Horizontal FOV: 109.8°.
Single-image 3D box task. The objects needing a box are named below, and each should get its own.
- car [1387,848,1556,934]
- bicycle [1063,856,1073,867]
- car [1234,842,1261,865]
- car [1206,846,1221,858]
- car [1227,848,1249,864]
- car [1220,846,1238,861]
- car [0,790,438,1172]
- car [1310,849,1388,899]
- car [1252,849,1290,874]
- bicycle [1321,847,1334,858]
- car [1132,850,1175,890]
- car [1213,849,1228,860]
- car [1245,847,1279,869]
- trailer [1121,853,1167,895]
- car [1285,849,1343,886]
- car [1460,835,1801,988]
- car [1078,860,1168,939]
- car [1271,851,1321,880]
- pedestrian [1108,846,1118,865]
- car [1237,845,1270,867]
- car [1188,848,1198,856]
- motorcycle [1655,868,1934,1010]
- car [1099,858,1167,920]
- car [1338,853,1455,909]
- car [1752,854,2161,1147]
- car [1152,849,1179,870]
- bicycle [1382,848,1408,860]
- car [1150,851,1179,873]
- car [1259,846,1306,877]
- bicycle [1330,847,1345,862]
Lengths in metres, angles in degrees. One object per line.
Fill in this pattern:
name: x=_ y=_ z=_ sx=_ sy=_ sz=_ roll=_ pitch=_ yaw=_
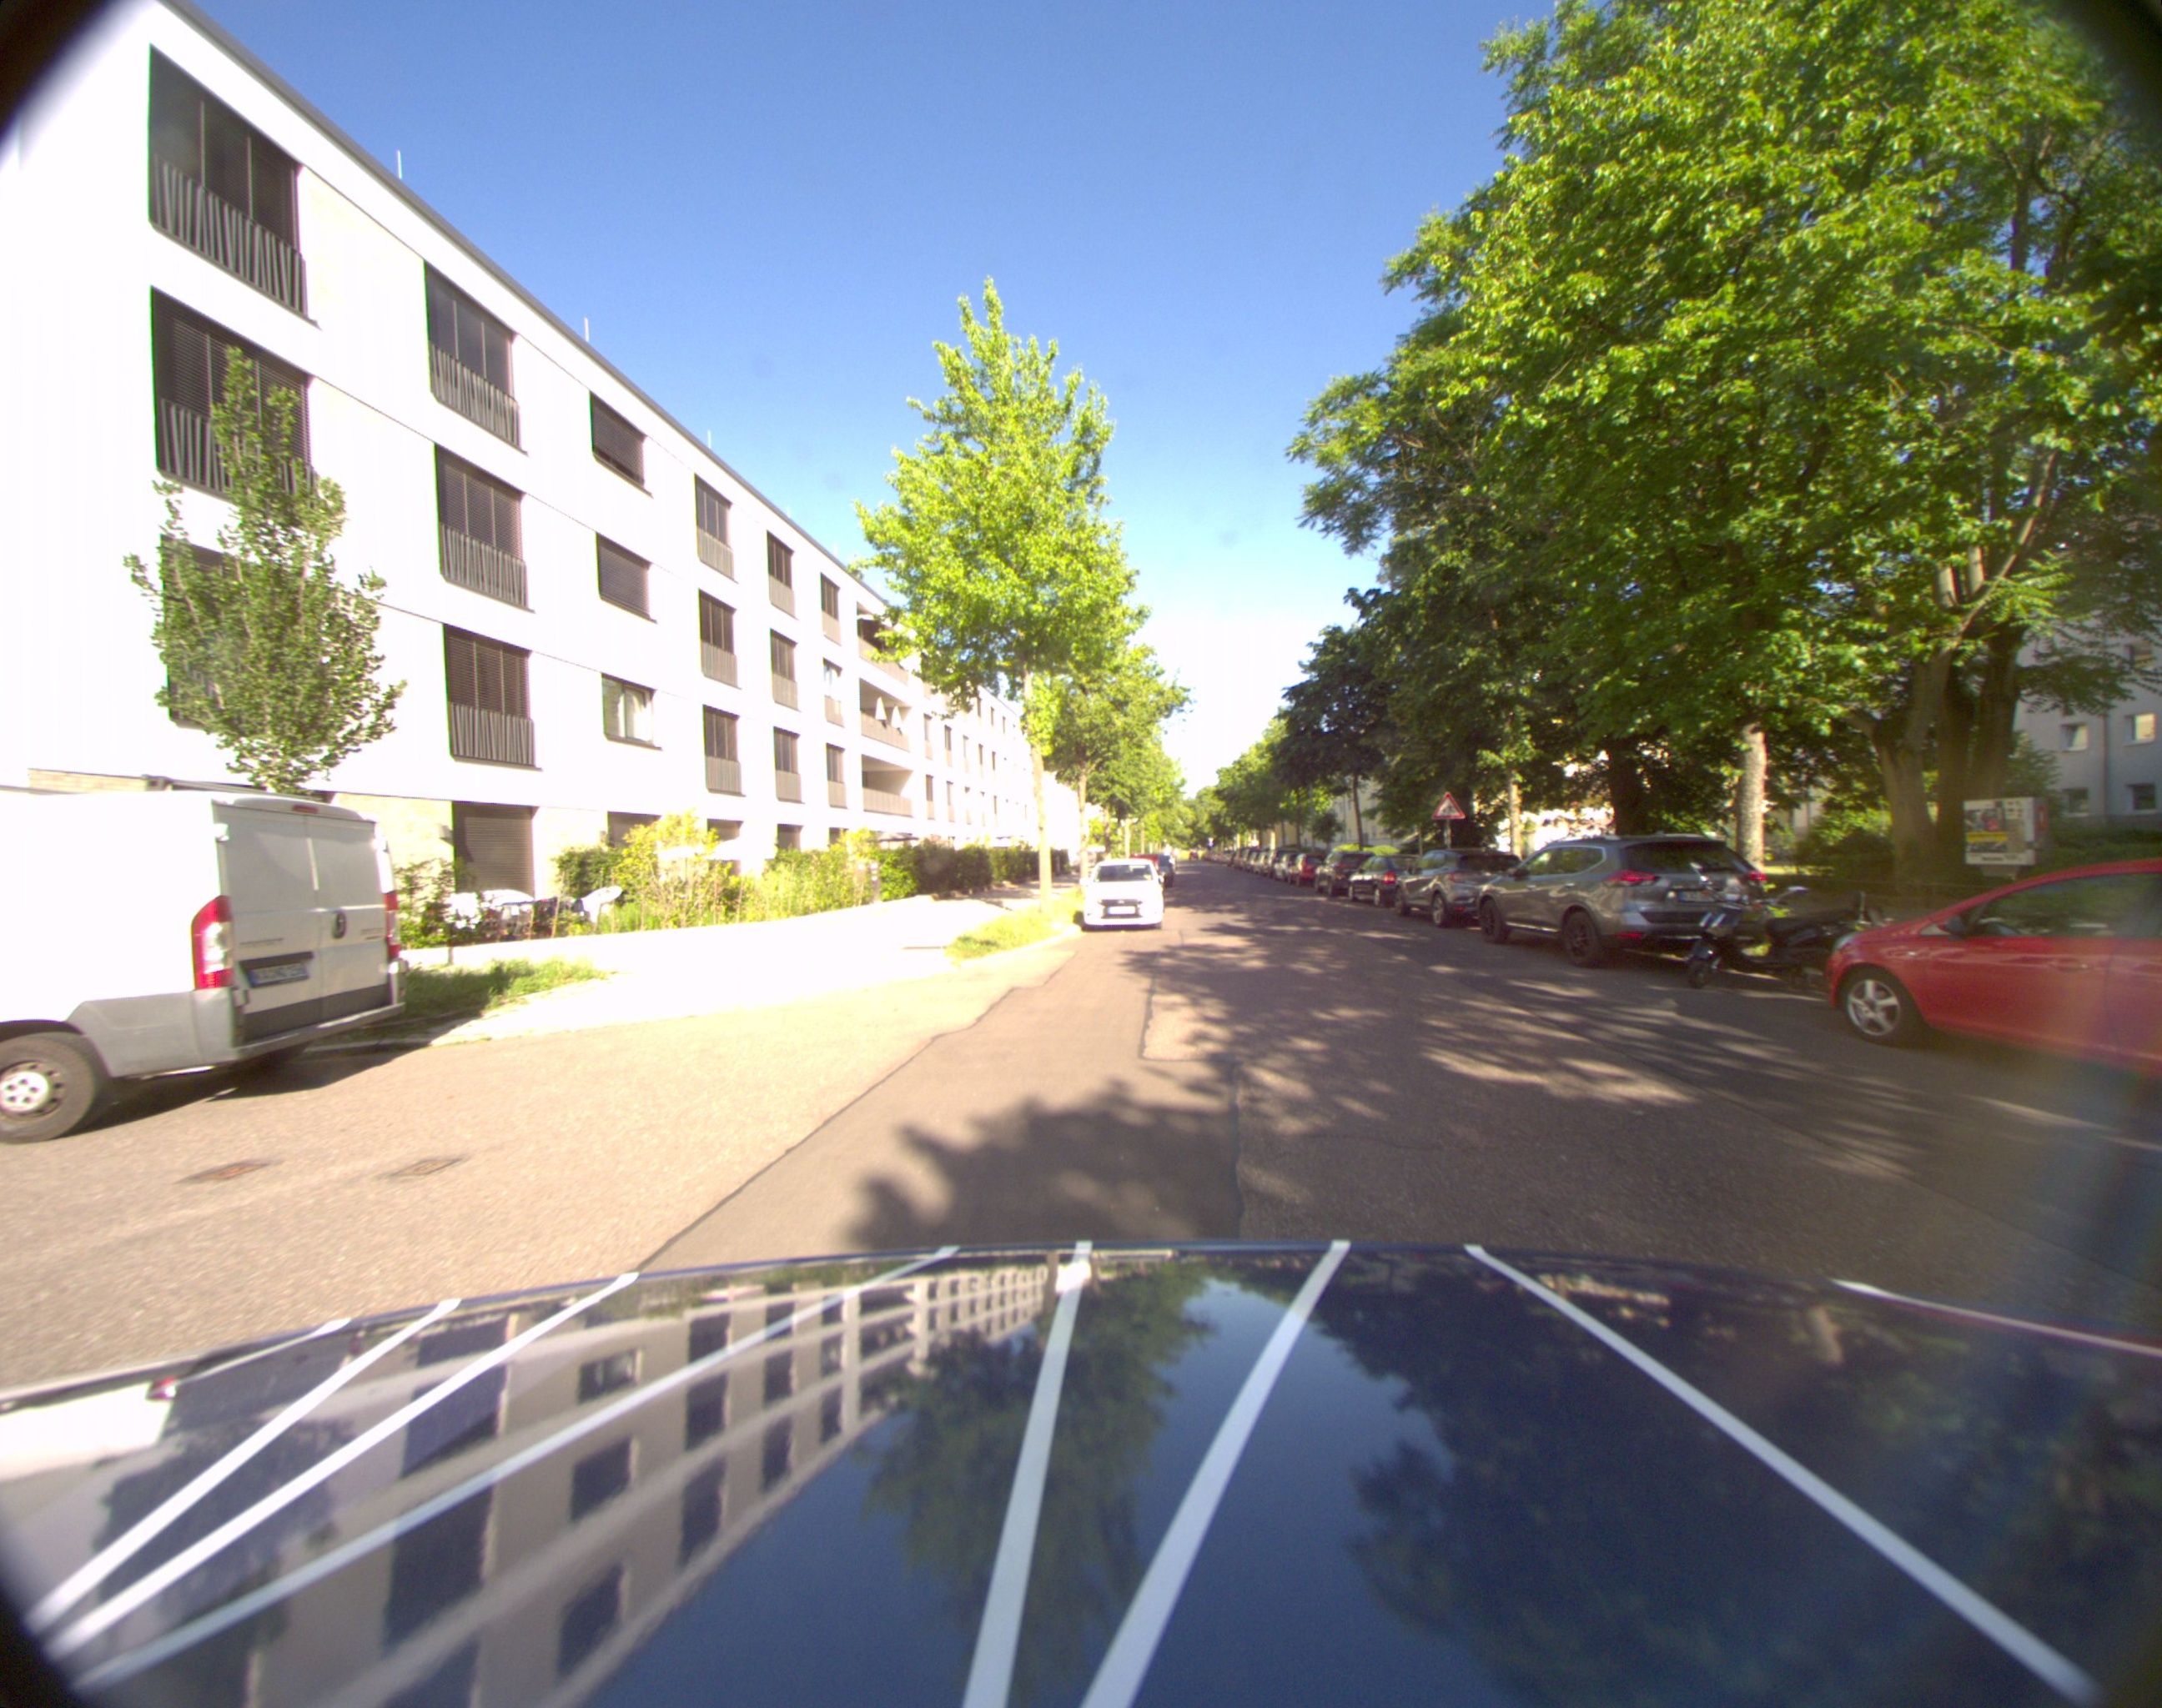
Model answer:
car: x=7.977 y=0.669 z=16.023 sx=1.772 sy=1.522 sz=4.422 roll=-2 pitch=0 yaw=8
bicycle: x=-1.091 y=0.658 z=65.447 sx=0.564 sy=0.889 sz=1.610 roll=-2 pitch=0 yaw=8
car: x=14.074 y=-0.036 z=64.502 sx=1.797 sy=1.839 sz=4.869 roll=-1 pitch=0 yaw=7
car: x=20.468 y=-0.359 z=117.471 sx=1.890 sy=1.797 sz=3.916 roll=-2 pitch=0 yaw=3
car: x=15.529 y=0.192 z=75.348 sx=1.779 sy=1.462 sz=4.066 roll=1 pitch=1 yaw=7
car: x=16.962 y=-0.055 z=87.043 sx=1.863 sy=1.718 sz=4.002 roll=0 pitch=1 yaw=8
car: x=-8.124 y=0.814 z=5.262 sx=5.060 sy=2.292 sz=2.231 roll=-2 pitch=1 yaw=-16
car: x=9.264 y=0.622 z=26.593 sx=1.709 sy=1.568 sz=4.484 roll=-1 pitch=0 yaw=8
car: x=12.156 y=0.451 z=48.812 sx=1.710 sy=1.472 sz=4.491 roll=-1 pitch=0 yaw=6
bicycle: x=20.958 y=-0.129 z=64.614 sx=0.596 sy=0.911 sz=1.904 roll=-1 pitch=0 yaw=6
car: x=3.554 y=0.717 z=36.738 sx=1.796 sy=1.633 sz=4.821 roll=-4 pitch=0 yaw=7
car: x=18.482 y=0.012 z=100.655 sx=1.605 sy=1.382 sz=3.814 roll=-2 pitch=0 yaw=7
car: x=12.769 y=0.265 z=53.797 sx=1.797 sy=1.443 sz=4.491 roll=-1 pitch=0 yaw=6
trailer: x=2.704 y=0.803 z=32.178 sx=1.577 sy=1.569 sz=3.194 roll=-4 pitch=0 yaw=9
car: x=10.248 y=0.547 z=33.638 sx=1.657 sy=1.496 sz=4.070 roll=-1 pitch=0 yaw=6
car: x=7.275 y=0.627 z=10.829 sx=1.771 sy=1.678 sz=4.816 roll=-1 pitch=0 yaw=6
car: x=1.028 y=0.935 z=17.251 sx=1.736 sy=1.478 sz=4.011 roll=-2 pitch=0 yaw=5
car: x=10.773 y=0.549 z=38.316 sx=1.657 sy=1.365 sz=4.191 roll=-1 pitch=0 yaw=6
pedestrian: x=3.385 y=0.123 z=80.905 sx=0.907 sy=2.002 sz=1.006 roll=-1 pitch=1 yaw=7
car: x=13.456 y=0.127 z=59.460 sx=1.797 sy=1.676 sz=4.527 roll=-1 pitch=0 yaw=4
car: x=20.611 y=-0.325 z=139.970 sx=1.664 sy=1.456 sz=3.449 roll=-1 pitch=0 yaw=8
motorcycle: x=7.264 y=0.835 z=7.853 sx=1.956 sy=1.324 sz=0.788 roll=-1 pitch=1 yaw=15
car: x=1.556 y=0.925 z=21.793 sx=1.673 sy=1.442 sz=4.180 roll=-4 pitch=0 yaw=6
car: x=8.714 y=0.689 z=21.406 sx=1.788 sy=1.344 sz=4.483 roll=-1 pitch=0 yaw=6
car: x=6.666 y=0.775 z=4.596 sx=1.860 sy=1.461 sz=4.184 roll=-2 pitch=0 yaw=7
car: x=7.047 y=0.424 z=62.855 sx=1.901 sy=1.638 sz=4.864 roll=-3 pitch=0 yaw=9
bicycle: x=23.617 y=0.013 z=57.183 sx=1.712 sy=0.864 sz=0.585 roll=-2 pitch=1 yaw=8
car: x=6.214 y=0.538 z=57.001 sx=1.785 sy=1.509 sz=4.688 roll=-3 pitch=0 yaw=3
car: x=11.467 y=0.372 z=43.549 sx=1.845 sy=1.647 sz=5.089 roll=-1 pitch=0 yaw=7
bicycle: x=19.749 y=0.023 z=58.629 sx=0.596 sy=1.183 sz=2.262 roll=-1 pitch=1 yaw=6
